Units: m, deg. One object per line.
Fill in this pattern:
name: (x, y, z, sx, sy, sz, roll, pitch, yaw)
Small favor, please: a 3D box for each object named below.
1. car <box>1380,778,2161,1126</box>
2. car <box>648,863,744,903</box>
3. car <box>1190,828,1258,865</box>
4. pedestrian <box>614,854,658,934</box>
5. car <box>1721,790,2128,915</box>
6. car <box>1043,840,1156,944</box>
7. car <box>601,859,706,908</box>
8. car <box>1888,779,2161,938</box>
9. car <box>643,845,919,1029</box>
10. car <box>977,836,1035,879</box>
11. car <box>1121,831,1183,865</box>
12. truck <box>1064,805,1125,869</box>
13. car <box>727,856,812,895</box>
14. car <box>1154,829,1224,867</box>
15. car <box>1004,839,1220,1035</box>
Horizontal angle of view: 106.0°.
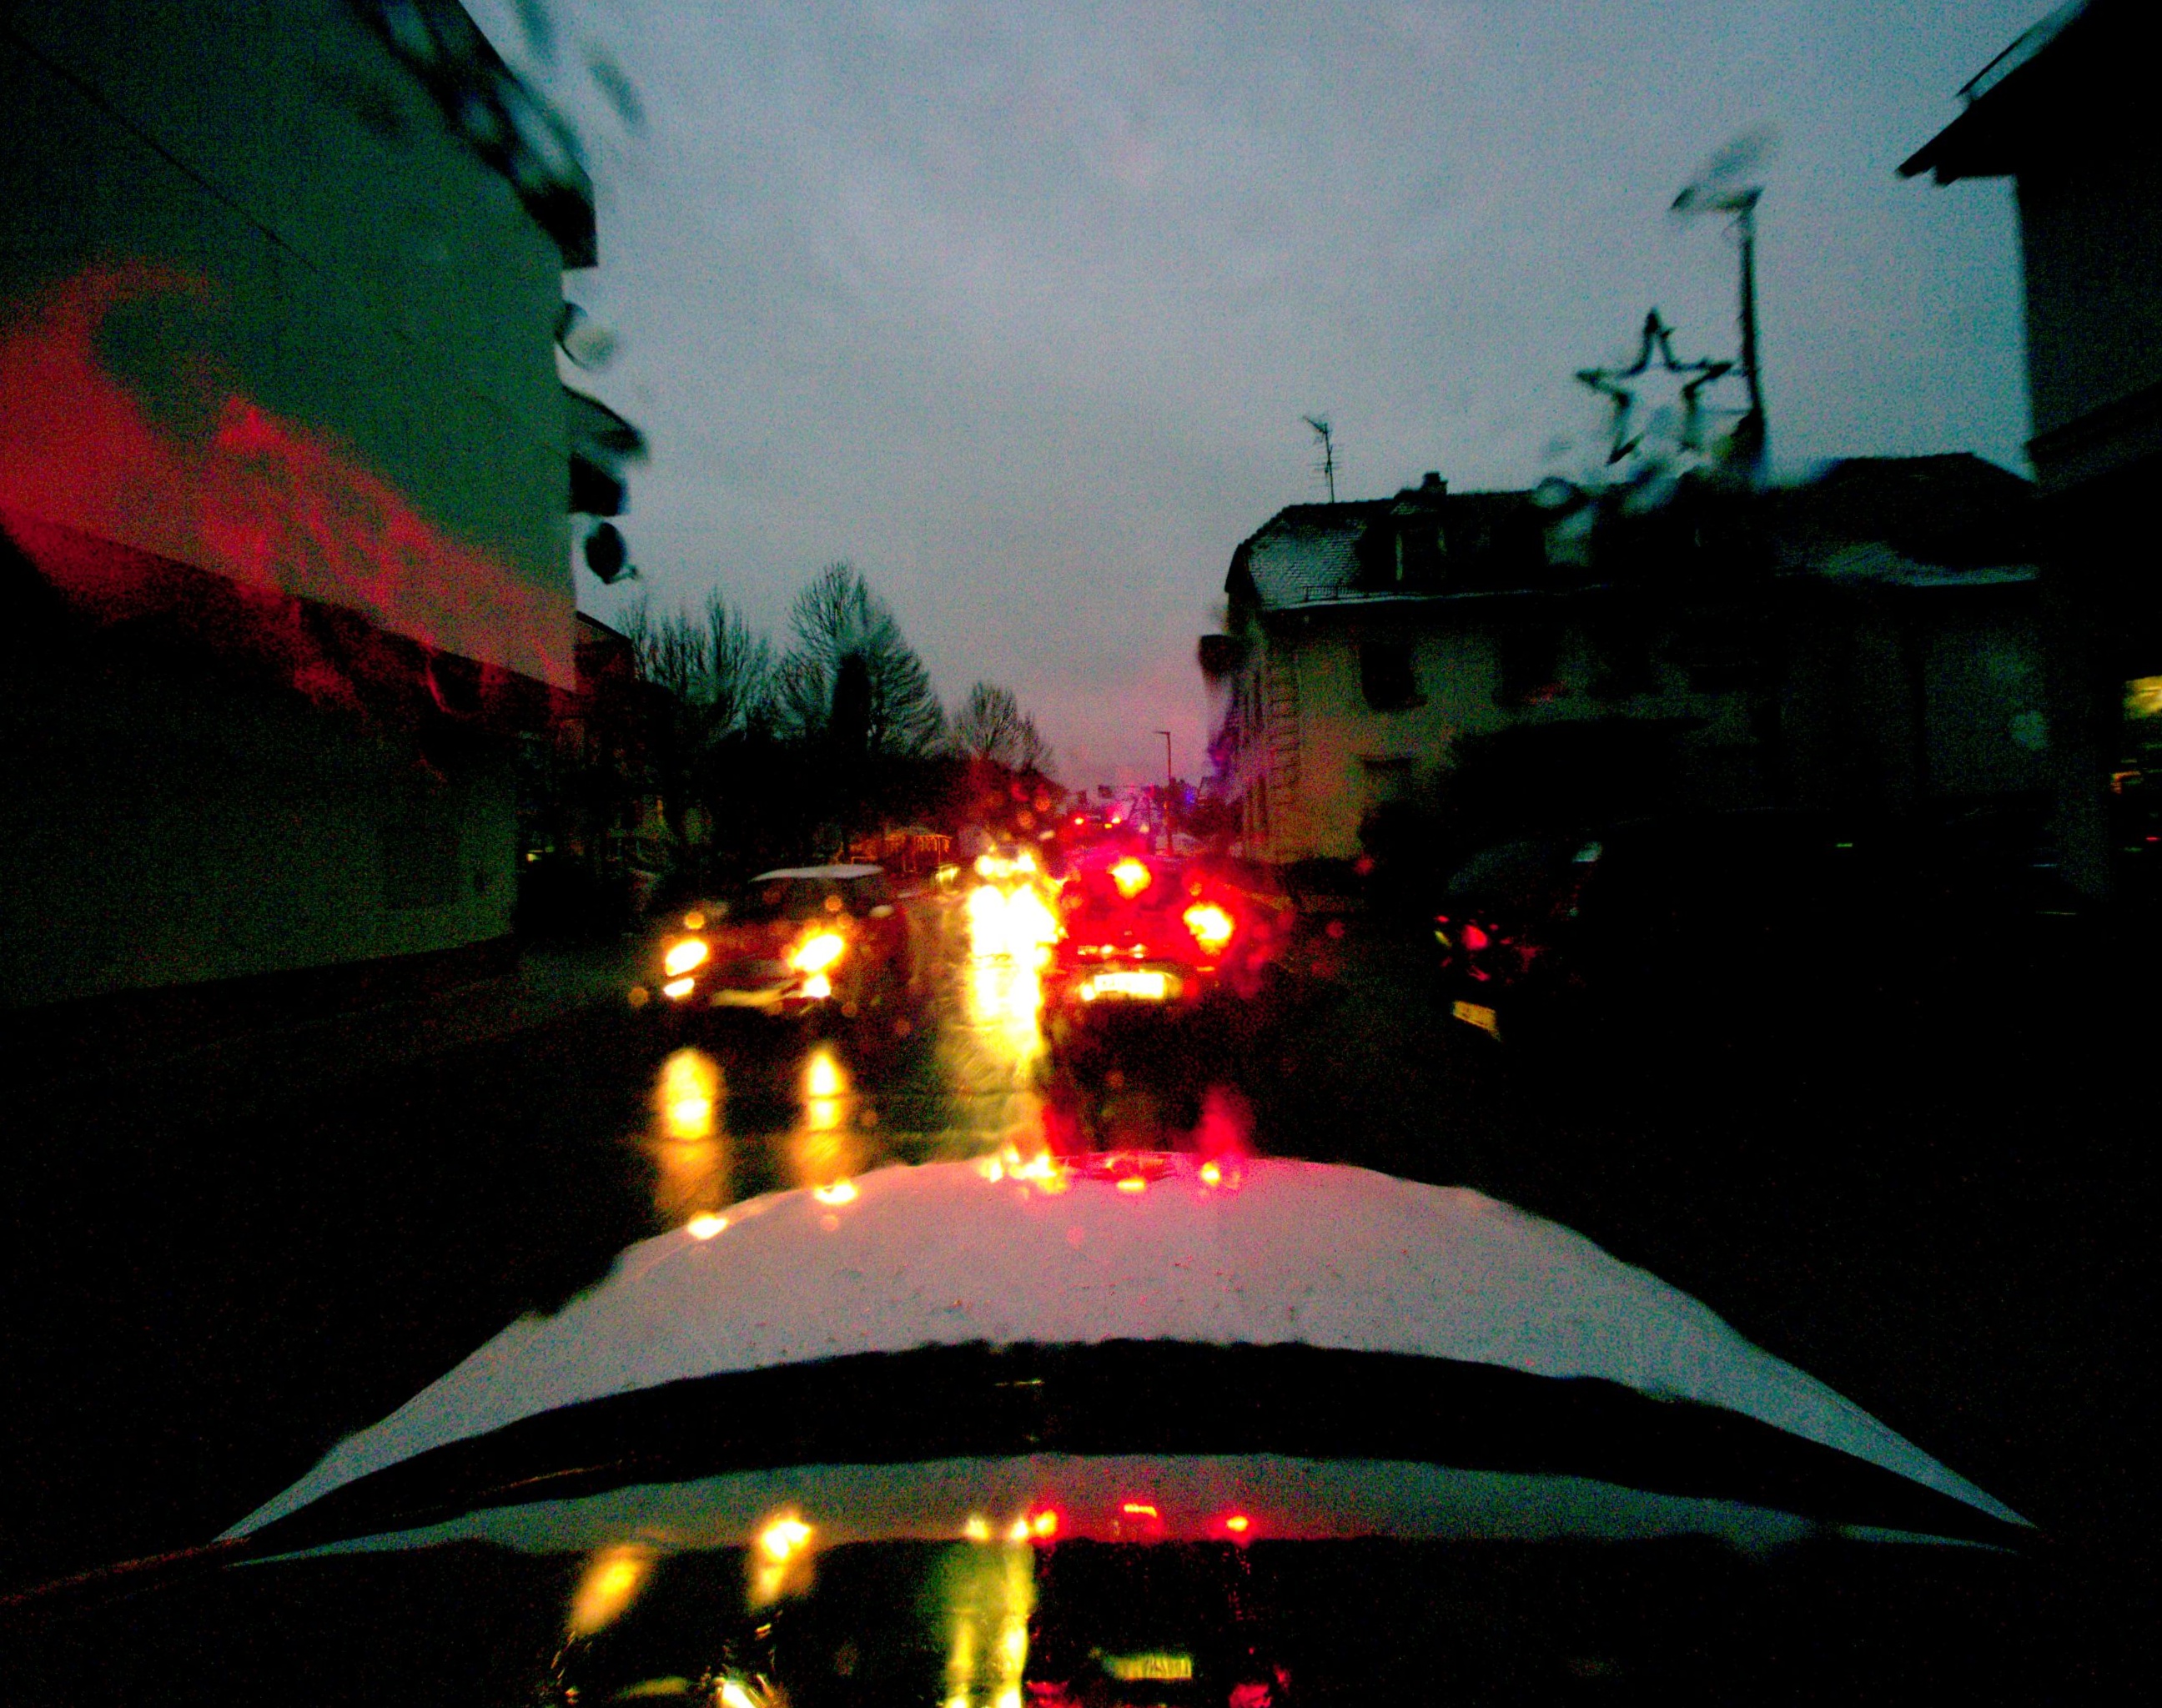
car: (4.109, 0.466, 5.031, 3.862, 1.579, 1.680, -3, 0, -4)
car: (-18.159, 1.373, 38.424, 3.953, 1.730, 1.829, -2, 1, 21)
car: (9.040, -0.494, 51.653, 4.073, 2.151, 1.918, -2, 1, 8)
pedestrian: (-8.540, 0.746, 15.624, 0.653, 1.458, 0.643, -2, 1, -35)
car: (12.379, -0.012, 12.206, 3.971, 1.524, 1.938, -3, 0, 2)
car: (0.276, 0.533, 13.594, 1.633, 1.481, 3.271, -1, 1, 0)
car: (-18.709, 1.301, 35.638, 3.953, 1.988, 1.829, -2, 1, 21)
car: (12.168, -0.038, 9.236, 3.973, 1.570, 2.001, -3, 0, 1)
car: (-2.910, 0.694, 8.687, 1.633, 1.535, 3.406, -2, 0, 0)
car: (-3.015, 0.111, 33.414, 1.804, 1.596, 4.401, -2, 1, 1)
car: (4.864, -0.398, 55.526, 4.073, 2.151, 1.918, -2, 1, 8)
truck: (0.588, -0.898, 45.003, 3.007, 3.128, 7.995, -1, 1, -2)
car: (-16.681, 1.162, 43.655, 3.953, 1.910, 1.829, -2, 1, 21)
car: (6.567, -0.370, 49.421, 4.073, 2.162, 1.918, -2, 1, 8)
car: (0.294, 0.631, 7.981, 1.632, 1.481, 3.380, -1, 0, 2)
